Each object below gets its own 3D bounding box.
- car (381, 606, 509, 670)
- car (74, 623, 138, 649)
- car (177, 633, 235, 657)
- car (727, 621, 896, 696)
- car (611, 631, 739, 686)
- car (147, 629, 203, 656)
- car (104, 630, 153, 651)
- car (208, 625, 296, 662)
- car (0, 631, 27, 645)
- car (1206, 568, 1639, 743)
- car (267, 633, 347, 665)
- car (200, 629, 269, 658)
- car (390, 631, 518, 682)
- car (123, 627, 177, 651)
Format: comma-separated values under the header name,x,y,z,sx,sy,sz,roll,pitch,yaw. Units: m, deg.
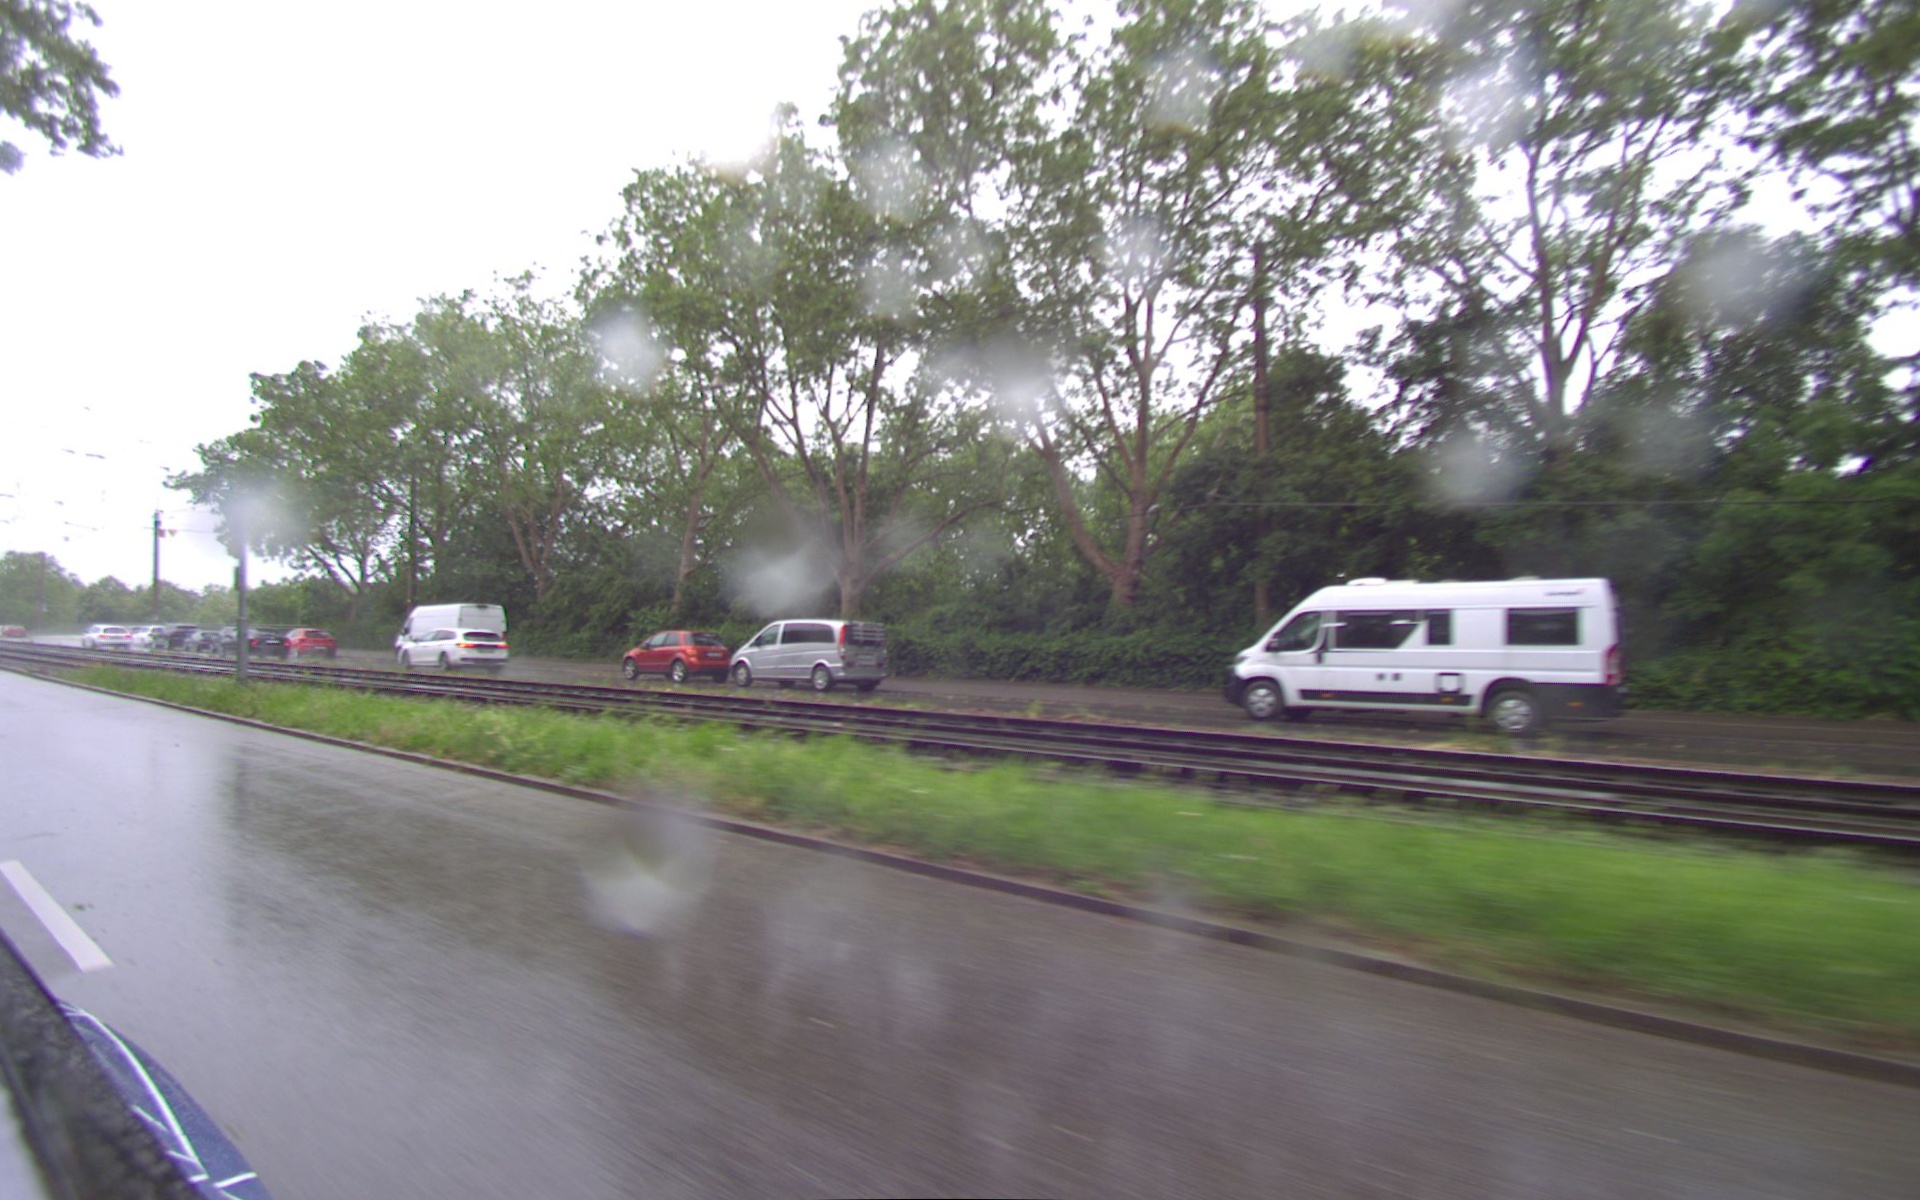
name,x,y,z,sx,sy,sz,roll,pitch,yaw
car,-21.096,1.533,41.329,6.132,2.465,2.306,-1,-3,39
car,-53.478,2.245,63.314,4.989,1.564,2.014,-1,-4,38
car,-45.860,2.754,61.517,3.961,1.389,1.867,-1,-4,39
car,-4.096,1.539,27.536,4.635,1.876,1.937,-1,-4,39
car,-8.834,1.780,31.243,4.020,1.564,1.800,-1,-4,39
car,-50.602,2.756,65.221,4.364,1.663,1.867,-1,-4,39
car,-60.037,2.890,73.077,4.122,1.442,1.634,-1,-3,35
car,-31.558,1.946,45.066,4.561,1.564,2.013,-1,-4,39
car,-99.792,3.957,106.176,4.911,1.478,2.014,-2,-2,38
car,7.862,0.915,17.718,6.556,2.560,2.367,-1,-4,38
car,-32.953,2.460,51.009,4.378,1.564,2.014,-1,-4,38
car,-41.673,2.506,58.131,4.378,1.564,2.014,-1,-4,38
car,-16.947,1.840,33.804,4.762,1.579,1.959,-1,-4,38
car,-55.489,2.668,69.286,4.573,1.522,1.867,-1,-4,38
